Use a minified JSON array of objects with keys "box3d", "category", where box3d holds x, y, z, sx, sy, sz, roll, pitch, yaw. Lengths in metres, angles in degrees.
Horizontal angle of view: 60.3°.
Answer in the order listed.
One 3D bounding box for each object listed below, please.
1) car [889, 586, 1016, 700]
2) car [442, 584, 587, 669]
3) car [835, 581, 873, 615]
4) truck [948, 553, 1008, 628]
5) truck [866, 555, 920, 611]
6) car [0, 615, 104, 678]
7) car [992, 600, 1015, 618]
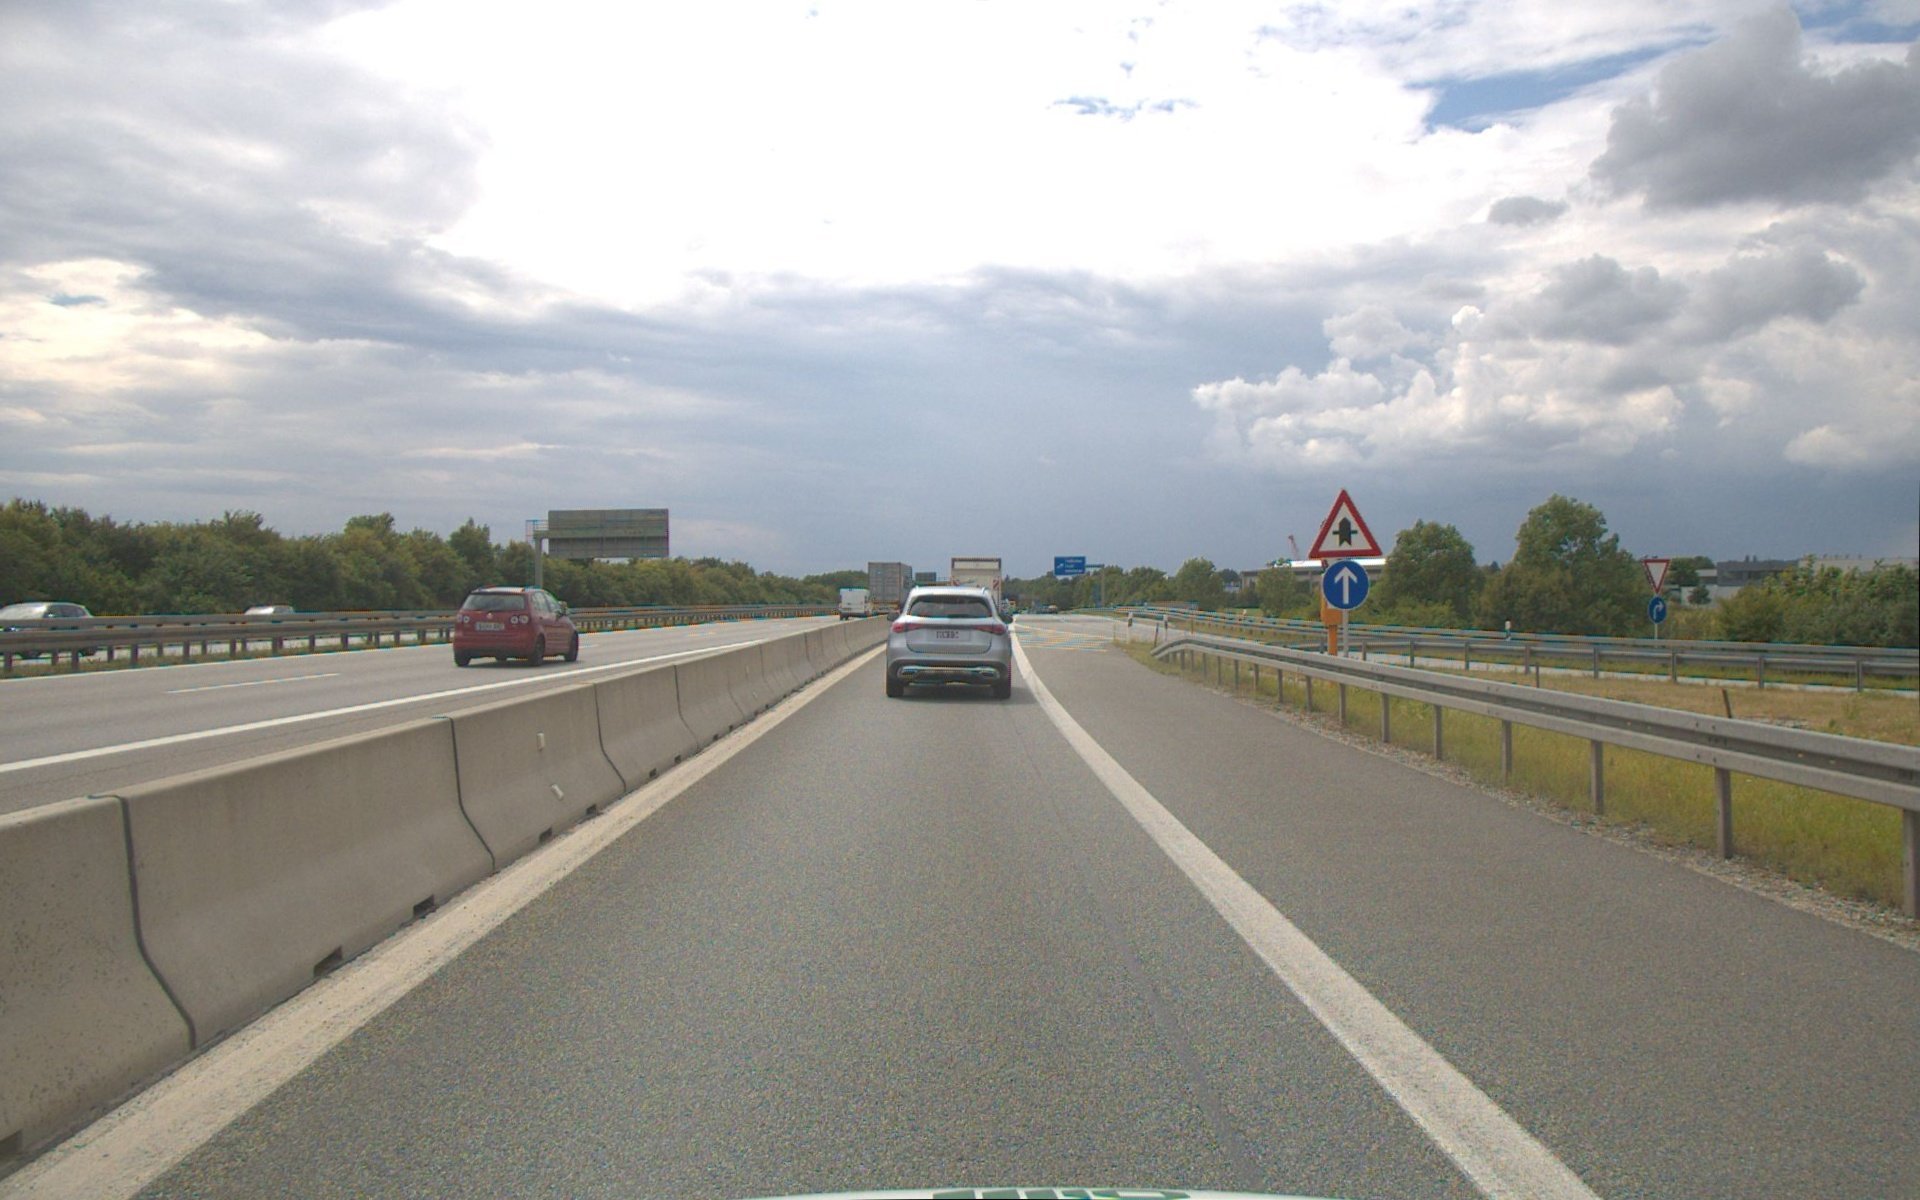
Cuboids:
[{"box3d":[-0.094,0.590,25.464,1.782,1.540,4.001,1,1,0],"category":"car"},{"box3d":[-9.235,0.501,34.663,1.782,1.572,4.356,1,1,1],"category":"car"},{"box3d":[-6.841,-0.138,106.853,1.952,2.048,4.376,1,1,2],"category":"car"},{"box3d":[0.819,-0.394,75.479,2.516,3.180,8.634,1,0,1],"category":"truck"},{"box3d":[-5.082,-1.420,128.600,3.117,4.089,16.079,1,1,1],"category":"truck"},{"box3d":[-23.361,1.134,41.376,1.669,1.423,4.001,1,0,2],"category":"car"},{"box3d":[3.382,0.703,127.907,1.661,1.310,4.002,1,0,3],"category":"car"}]
